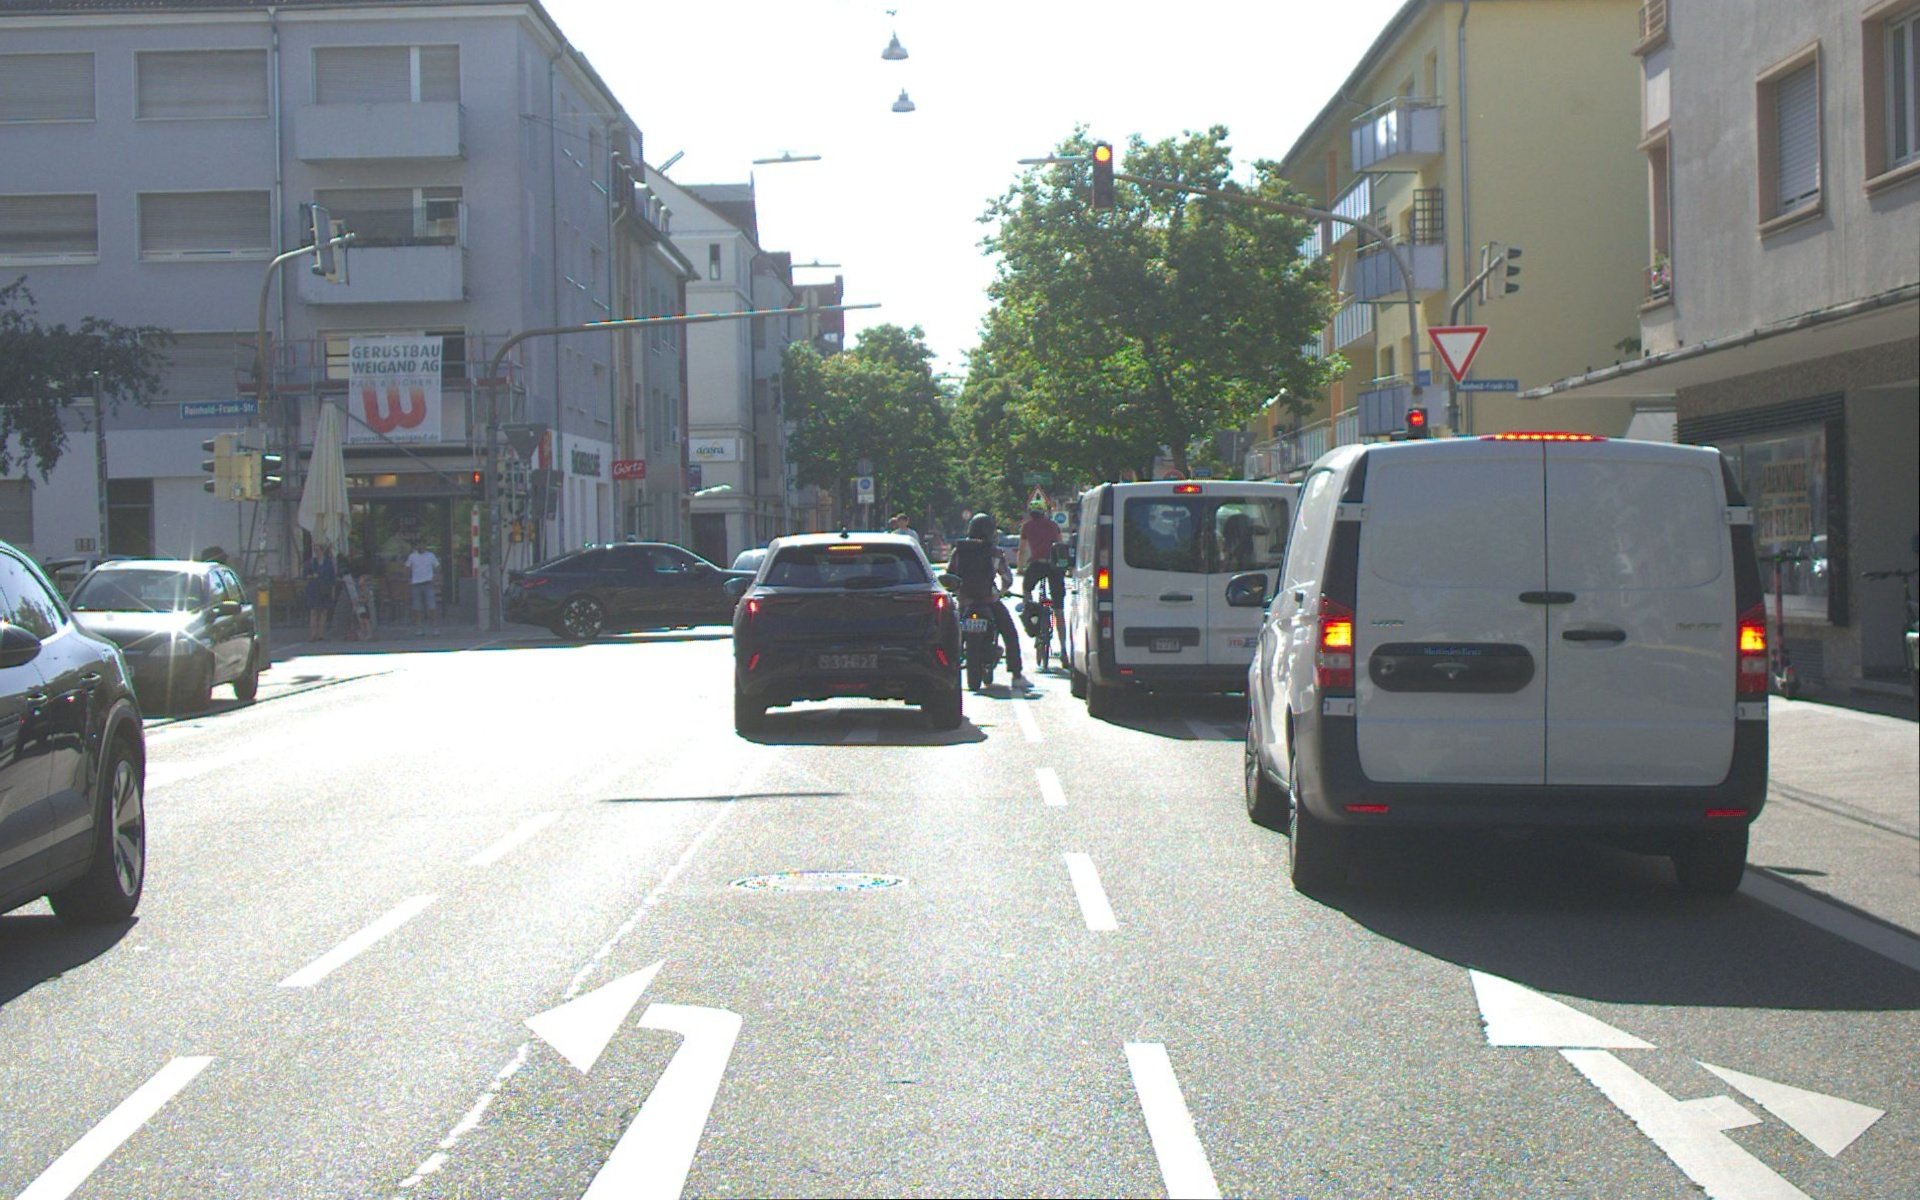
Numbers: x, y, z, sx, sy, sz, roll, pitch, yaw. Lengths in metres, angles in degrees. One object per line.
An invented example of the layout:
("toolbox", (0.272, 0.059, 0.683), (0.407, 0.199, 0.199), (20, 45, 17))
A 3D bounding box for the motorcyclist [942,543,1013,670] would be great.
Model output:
("motorcyclist", (0.165, 0.054, 33.657), (0.658, 1.223, 0.694), (-1, 1, -1))

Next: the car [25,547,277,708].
("car", (-7.993, 0.231, 34.290), (1.653, 1.474, 4.000), (1, 1, -1))

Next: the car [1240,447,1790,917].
("car", (2.345, 0.278, 15.671), (1.985, 1.816, 4.546), (-1, 1, 3))

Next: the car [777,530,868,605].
("car", (-2.639, -0.648, 66.809), (1.618, 1.393, 3.731), (-1, 1, 0))

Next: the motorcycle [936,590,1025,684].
("motorcycle", (0.189, 0.350, 33.798), (0.807, 0.860, 1.823), (-1, 1, -1))

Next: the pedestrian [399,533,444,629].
("pedestrian", (-9.415, -0.337, 60.134), (0.683, 1.658, 0.601), (-1, 1, -1))

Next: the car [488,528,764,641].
("car", (-5.121, -0.252, 52.414), (3.986, 1.634, 2.001), (-1, 1, -11))

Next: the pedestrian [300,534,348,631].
("pedestrian", (-10.955, -0.302, 59.227), (0.683, 1.658, 0.601), (-1, 1, -1))

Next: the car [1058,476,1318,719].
("car", (1.897, -0.064, 29.914), (1.815, 1.914, 4.645), (-1, 1, -1))

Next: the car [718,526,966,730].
("car", (-0.936, 0.173, 27.865), (1.844, 1.502, 4.000), (-1, 1, -1))

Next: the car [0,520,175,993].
("car", (-4.218, 0.545, 12.184), (1.867, 1.608, 4.428), (-1, 1, -1))

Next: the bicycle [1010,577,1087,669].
("bicycle", (0.997, 0.245, 39.080), (0.775, 0.989, 1.717), (-1, 1, -1))

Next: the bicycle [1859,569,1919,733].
("bicycle", (6.947, 0.349, 24.732), (0.523, 1.115, 1.534), (-1, 1, -1))

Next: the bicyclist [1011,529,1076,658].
("bicyclist", (0.946, -0.083, 39.079), (0.683, 1.444, 0.940), (-1, 1, -1))
